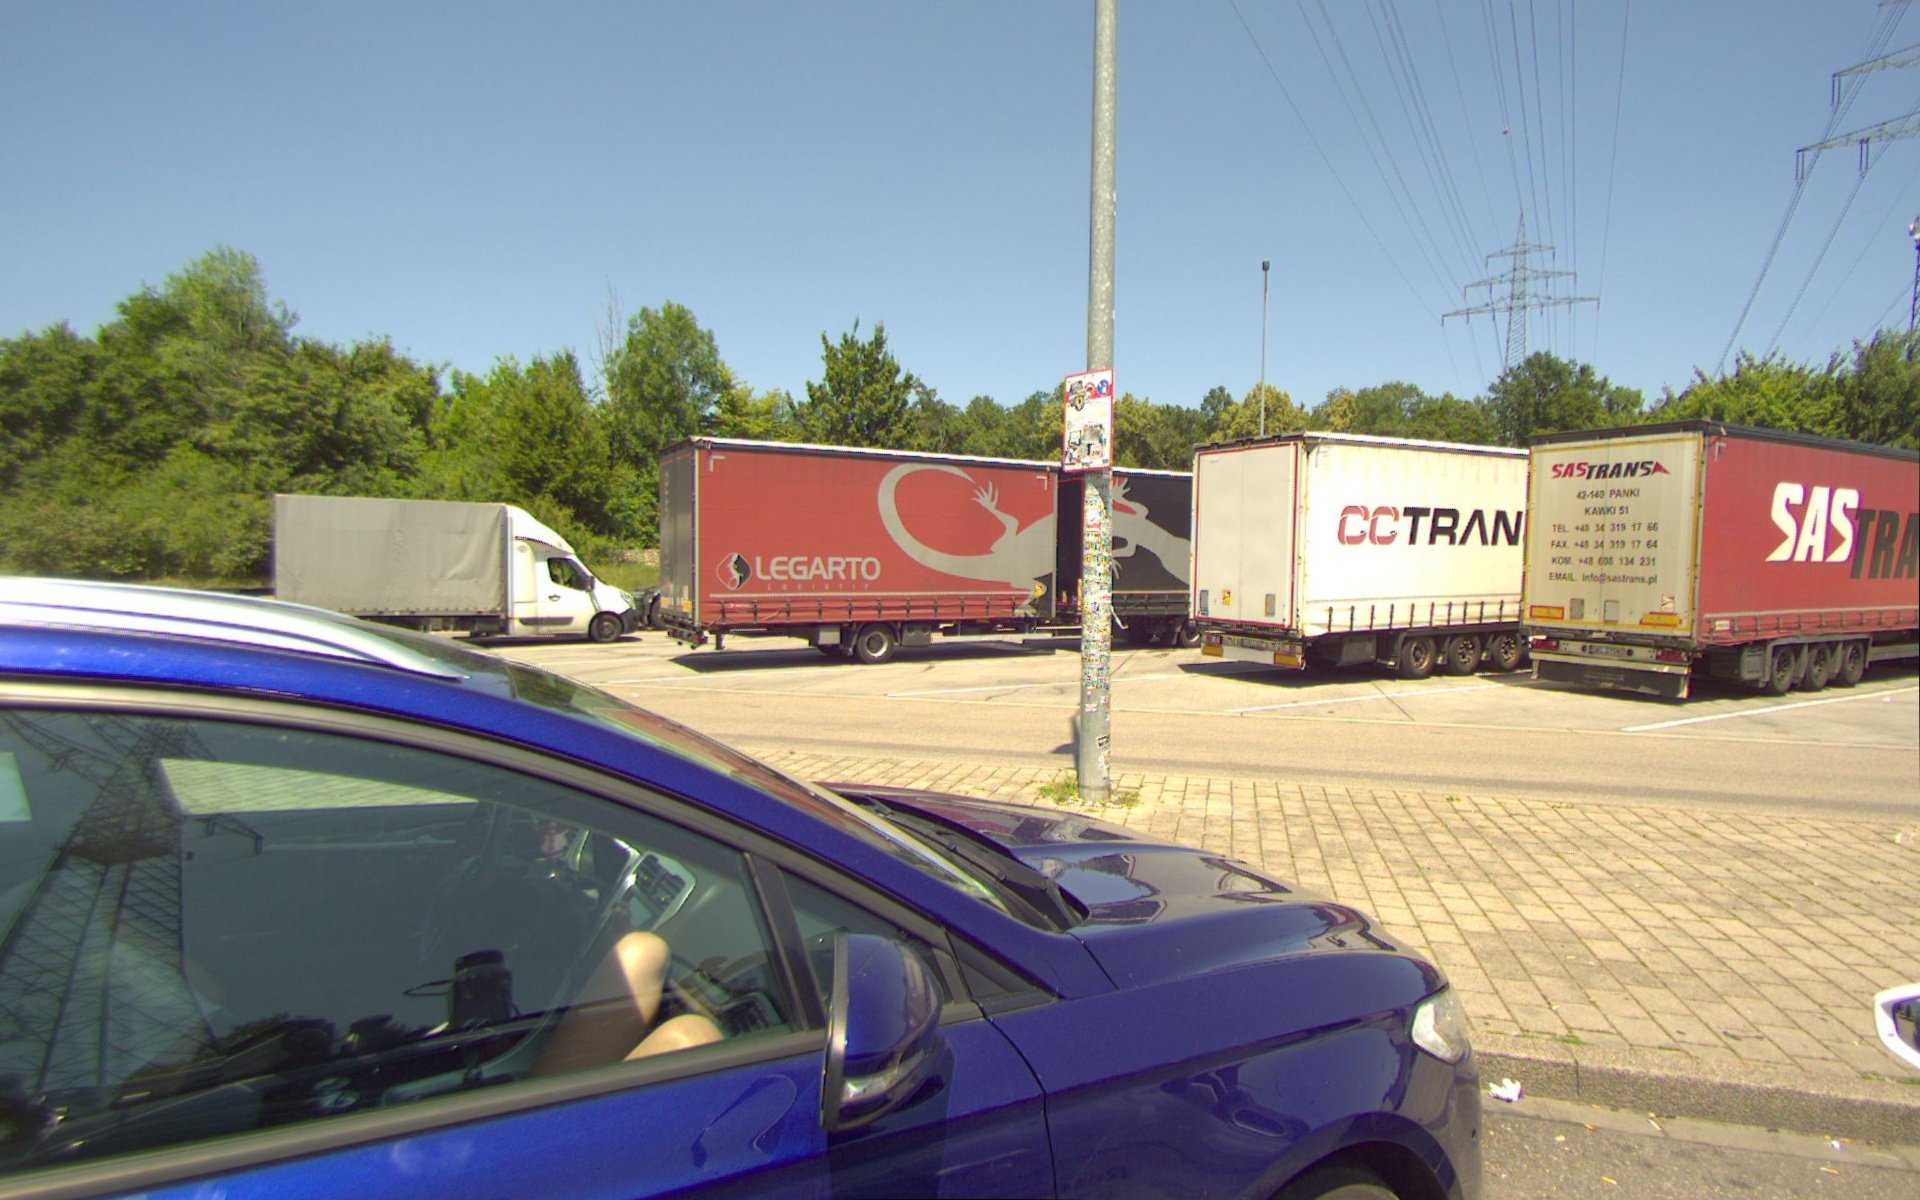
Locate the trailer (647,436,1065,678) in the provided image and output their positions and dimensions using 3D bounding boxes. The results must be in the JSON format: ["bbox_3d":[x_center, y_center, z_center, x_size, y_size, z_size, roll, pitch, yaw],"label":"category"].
[{"bbox_3d":[-1.925,-0.826,20.277,7.996,4.101,2.696,-1,3,-30],"label":"trailer"}]

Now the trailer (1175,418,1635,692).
[{"bbox_3d":[8.868,-0.819,19.339,10.049,4.267,2.714,-1,3,-30],"label":"trailer"}]

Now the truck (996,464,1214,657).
[{"bbox_3d":[3.357,-0.902,23.372,4.273,4.072,2.689,-1,3,-30],"label":"truck"}]

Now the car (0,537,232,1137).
[{"bbox_3d":[-4.551,0.587,2.265,4.592,1.554,1.726,0,1,-33],"label":"car"}]

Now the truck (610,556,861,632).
[{"bbox_3d":[-6.482,-0.159,29.536,6.961,2.040,1.984,0,0,-30],"label":"truck"}]

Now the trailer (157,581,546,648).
[{"bbox_3d":[-14.830,0.266,25.196,7.996,1.394,2.211,-1,3,-30],"label":"trailer"}]

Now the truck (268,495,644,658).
[{"bbox_3d":[-11.201,-0.567,22.913,7.254,3.254,2.515,-1,3,-30],"label":"truck"}]

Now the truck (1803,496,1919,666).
[{"bbox_3d":[21.728,-0.433,22.320,5.418,3.475,2.838,-1,3,-30],"label":"truck"}]

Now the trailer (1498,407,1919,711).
[{"bbox_3d":[15.407,-0.703,18.574,13.559,4.189,2.892,-1,3,-30],"label":"trailer"}]

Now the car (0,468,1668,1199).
[{"bbox_3d":[-0.977,0.658,1.480,4.592,1.502,1.727,0,0,-33],"label":"car"}]
